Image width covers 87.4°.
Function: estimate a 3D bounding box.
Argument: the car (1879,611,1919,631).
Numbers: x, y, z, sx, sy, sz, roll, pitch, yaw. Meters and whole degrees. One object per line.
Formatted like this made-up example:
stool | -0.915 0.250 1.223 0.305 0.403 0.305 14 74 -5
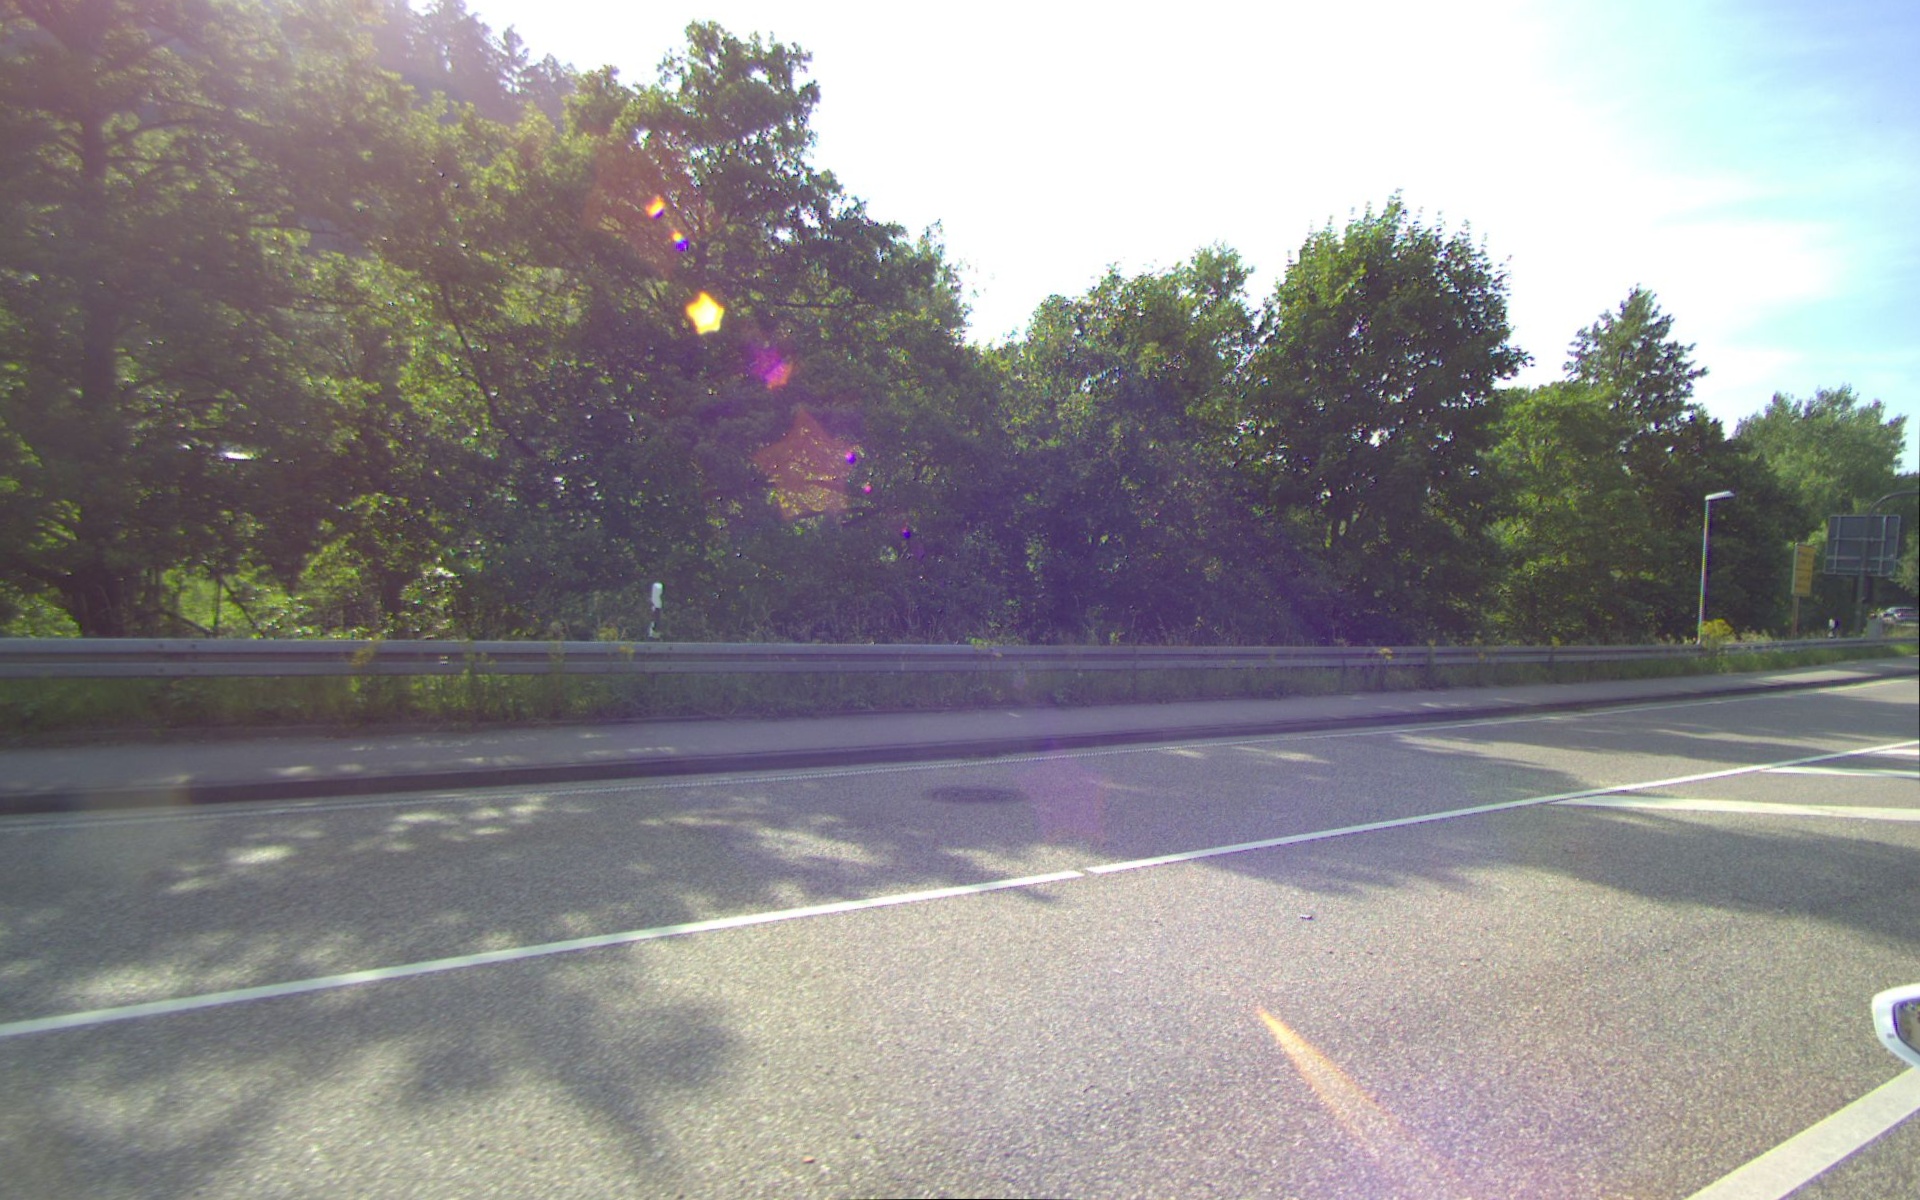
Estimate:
car | 95.857 2.133 102.518 2.031 1.835 3.995 1 1 27
